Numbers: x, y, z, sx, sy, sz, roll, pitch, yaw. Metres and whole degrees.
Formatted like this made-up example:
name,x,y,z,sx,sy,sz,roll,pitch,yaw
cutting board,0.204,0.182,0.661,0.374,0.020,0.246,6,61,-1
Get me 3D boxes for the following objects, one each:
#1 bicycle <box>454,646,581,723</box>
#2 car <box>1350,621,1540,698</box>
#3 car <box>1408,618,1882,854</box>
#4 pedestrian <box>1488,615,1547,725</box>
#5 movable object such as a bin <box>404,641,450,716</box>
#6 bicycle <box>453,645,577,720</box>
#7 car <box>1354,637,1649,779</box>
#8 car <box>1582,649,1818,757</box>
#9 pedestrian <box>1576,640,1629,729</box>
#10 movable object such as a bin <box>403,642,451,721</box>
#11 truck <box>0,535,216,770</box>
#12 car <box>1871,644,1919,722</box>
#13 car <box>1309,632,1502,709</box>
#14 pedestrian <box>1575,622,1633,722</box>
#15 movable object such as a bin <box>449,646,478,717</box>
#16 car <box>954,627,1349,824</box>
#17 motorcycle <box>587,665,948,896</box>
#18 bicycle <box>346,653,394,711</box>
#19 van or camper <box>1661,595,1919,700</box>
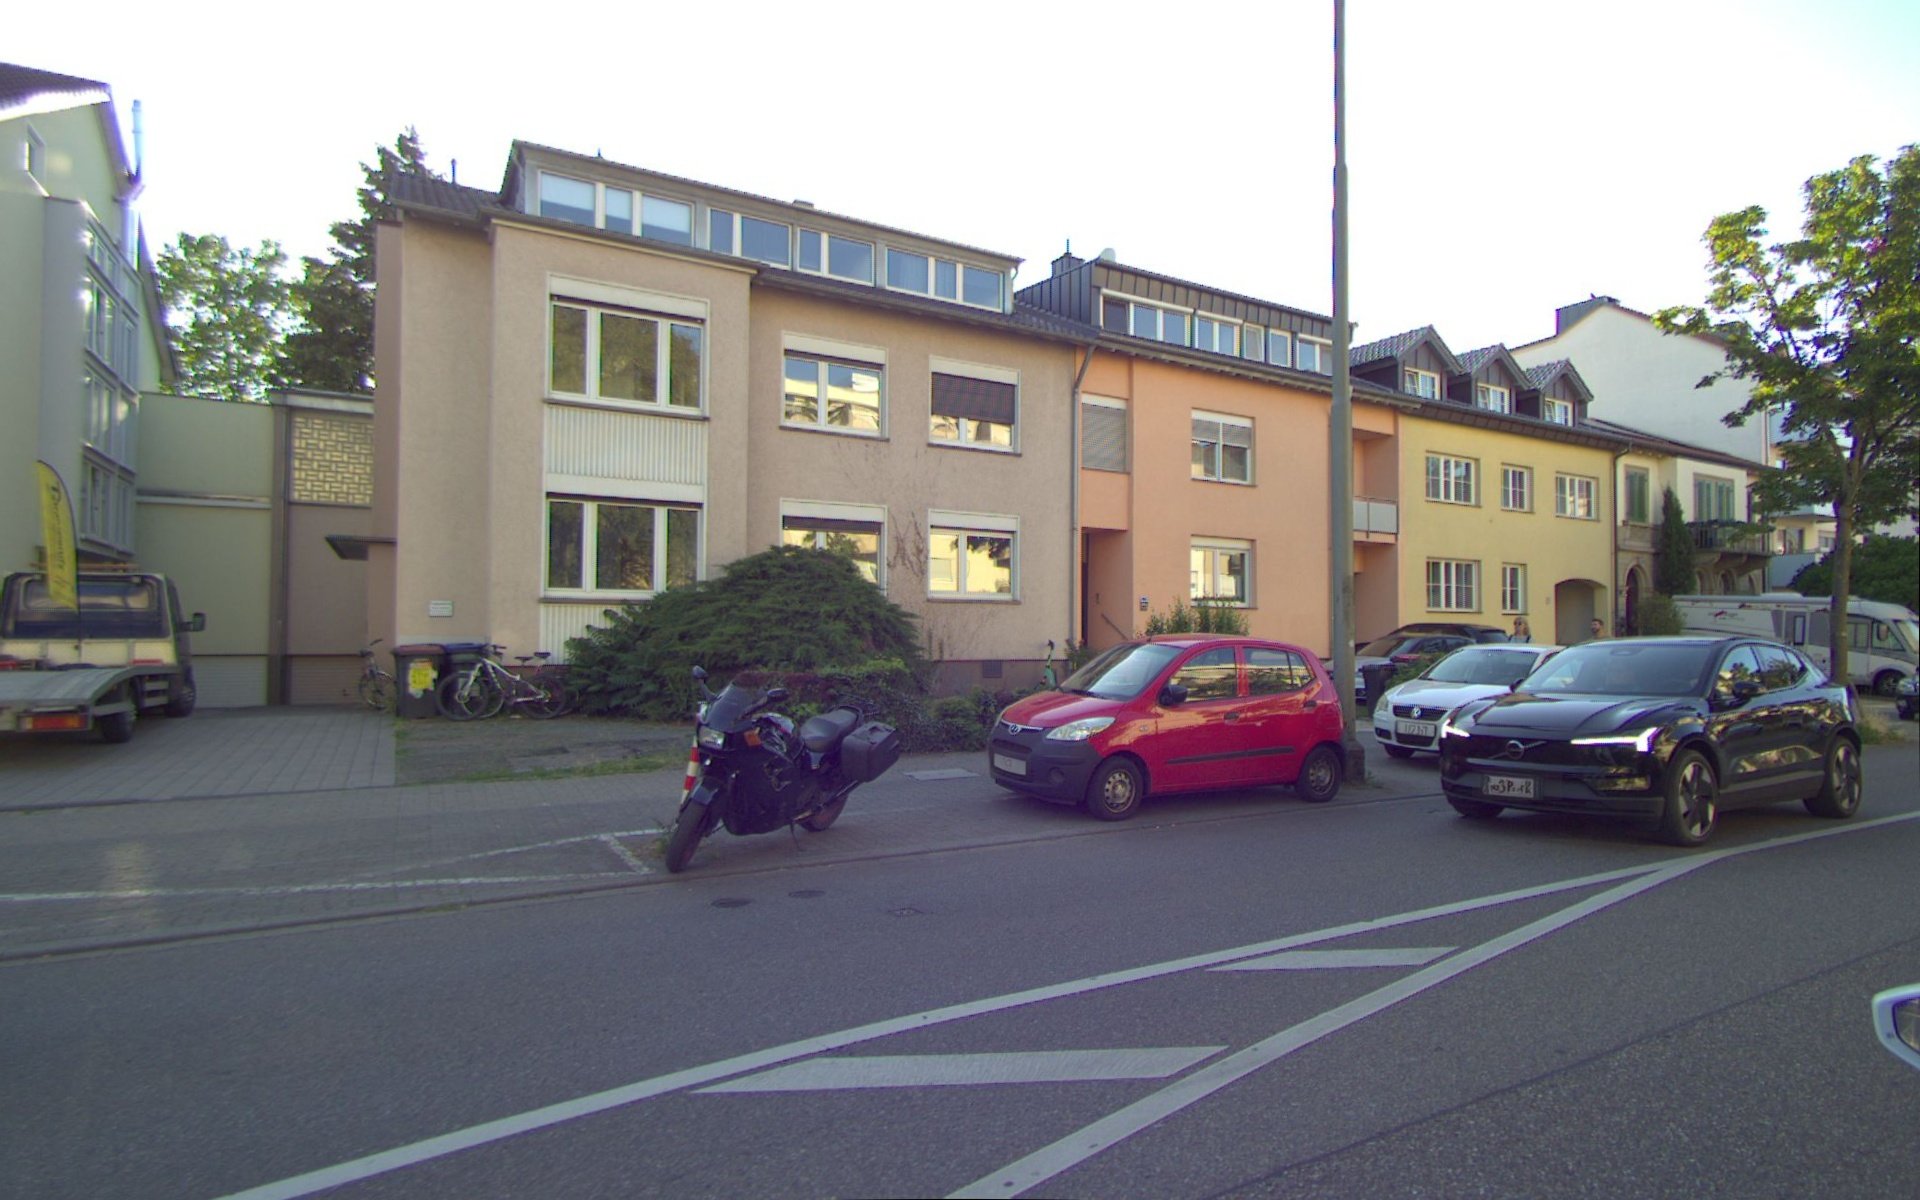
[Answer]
name,x,y,z,sx,sy,sz,roll,pitch,yaw
bicycle,-6.597,1.240,15.021,1.691,1.100,0.331,2,-2,-31
car,12.062,1.430,25.231,1.843,1.657,3.970,2,0,-28
car,5.926,1.046,8.632,3.954,1.590,1.827,2,-4,-30
pedestrian,9.431,1.165,16.991,0.499,1.816,0.711,1,-2,-27
movable object such as a bin,-8.025,1.172,15.115,0.579,1.104,0.486,2,-2,-30
bicycle,-6.777,1.237,15.328,1.691,1.100,0.331,2,-2,-31
car,6.913,1.269,12.736,3.847,1.543,1.585,2,-2,-31
car,11.058,1.456,14.972,3.623,1.415,1.536,2,-2,-30
pedestrian,11.308,1.470,17.686,0.535,1.515,0.588,1,-2,-27
movable object such as a bin,-7.724,1.171,14.547,0.579,1.104,0.486,2,-2,-30
truck,-11.073,0.571,12.279,2.249,2.213,6.864,2,-2,-29
car,21.108,1.731,20.941,4.464,1.514,1.859,2,-1,-30
car,8.993,1.395,20.240,3.706,1.427,1.658,2,-3,-29
pedestrian,11.920,1.316,18.592,0.564,1.816,0.711,1,-2,-27
movable object such as a bin,-7.621,1.242,15.412,0.345,1.051,0.433,2,-2,-30
car,1.808,1.053,9.391,3.392,1.543,1.587,2,-2,-27
motorcycle,-1.258,1.134,7.148,1.164,1.282,2.362,-1,-3,36
bicycle,-10.034,1.400,17.117,0.582,0.942,1.589,1,-5,-27
van or camper,26.029,1.335,31.047,2.324,2.810,6.764,2,0,-30
